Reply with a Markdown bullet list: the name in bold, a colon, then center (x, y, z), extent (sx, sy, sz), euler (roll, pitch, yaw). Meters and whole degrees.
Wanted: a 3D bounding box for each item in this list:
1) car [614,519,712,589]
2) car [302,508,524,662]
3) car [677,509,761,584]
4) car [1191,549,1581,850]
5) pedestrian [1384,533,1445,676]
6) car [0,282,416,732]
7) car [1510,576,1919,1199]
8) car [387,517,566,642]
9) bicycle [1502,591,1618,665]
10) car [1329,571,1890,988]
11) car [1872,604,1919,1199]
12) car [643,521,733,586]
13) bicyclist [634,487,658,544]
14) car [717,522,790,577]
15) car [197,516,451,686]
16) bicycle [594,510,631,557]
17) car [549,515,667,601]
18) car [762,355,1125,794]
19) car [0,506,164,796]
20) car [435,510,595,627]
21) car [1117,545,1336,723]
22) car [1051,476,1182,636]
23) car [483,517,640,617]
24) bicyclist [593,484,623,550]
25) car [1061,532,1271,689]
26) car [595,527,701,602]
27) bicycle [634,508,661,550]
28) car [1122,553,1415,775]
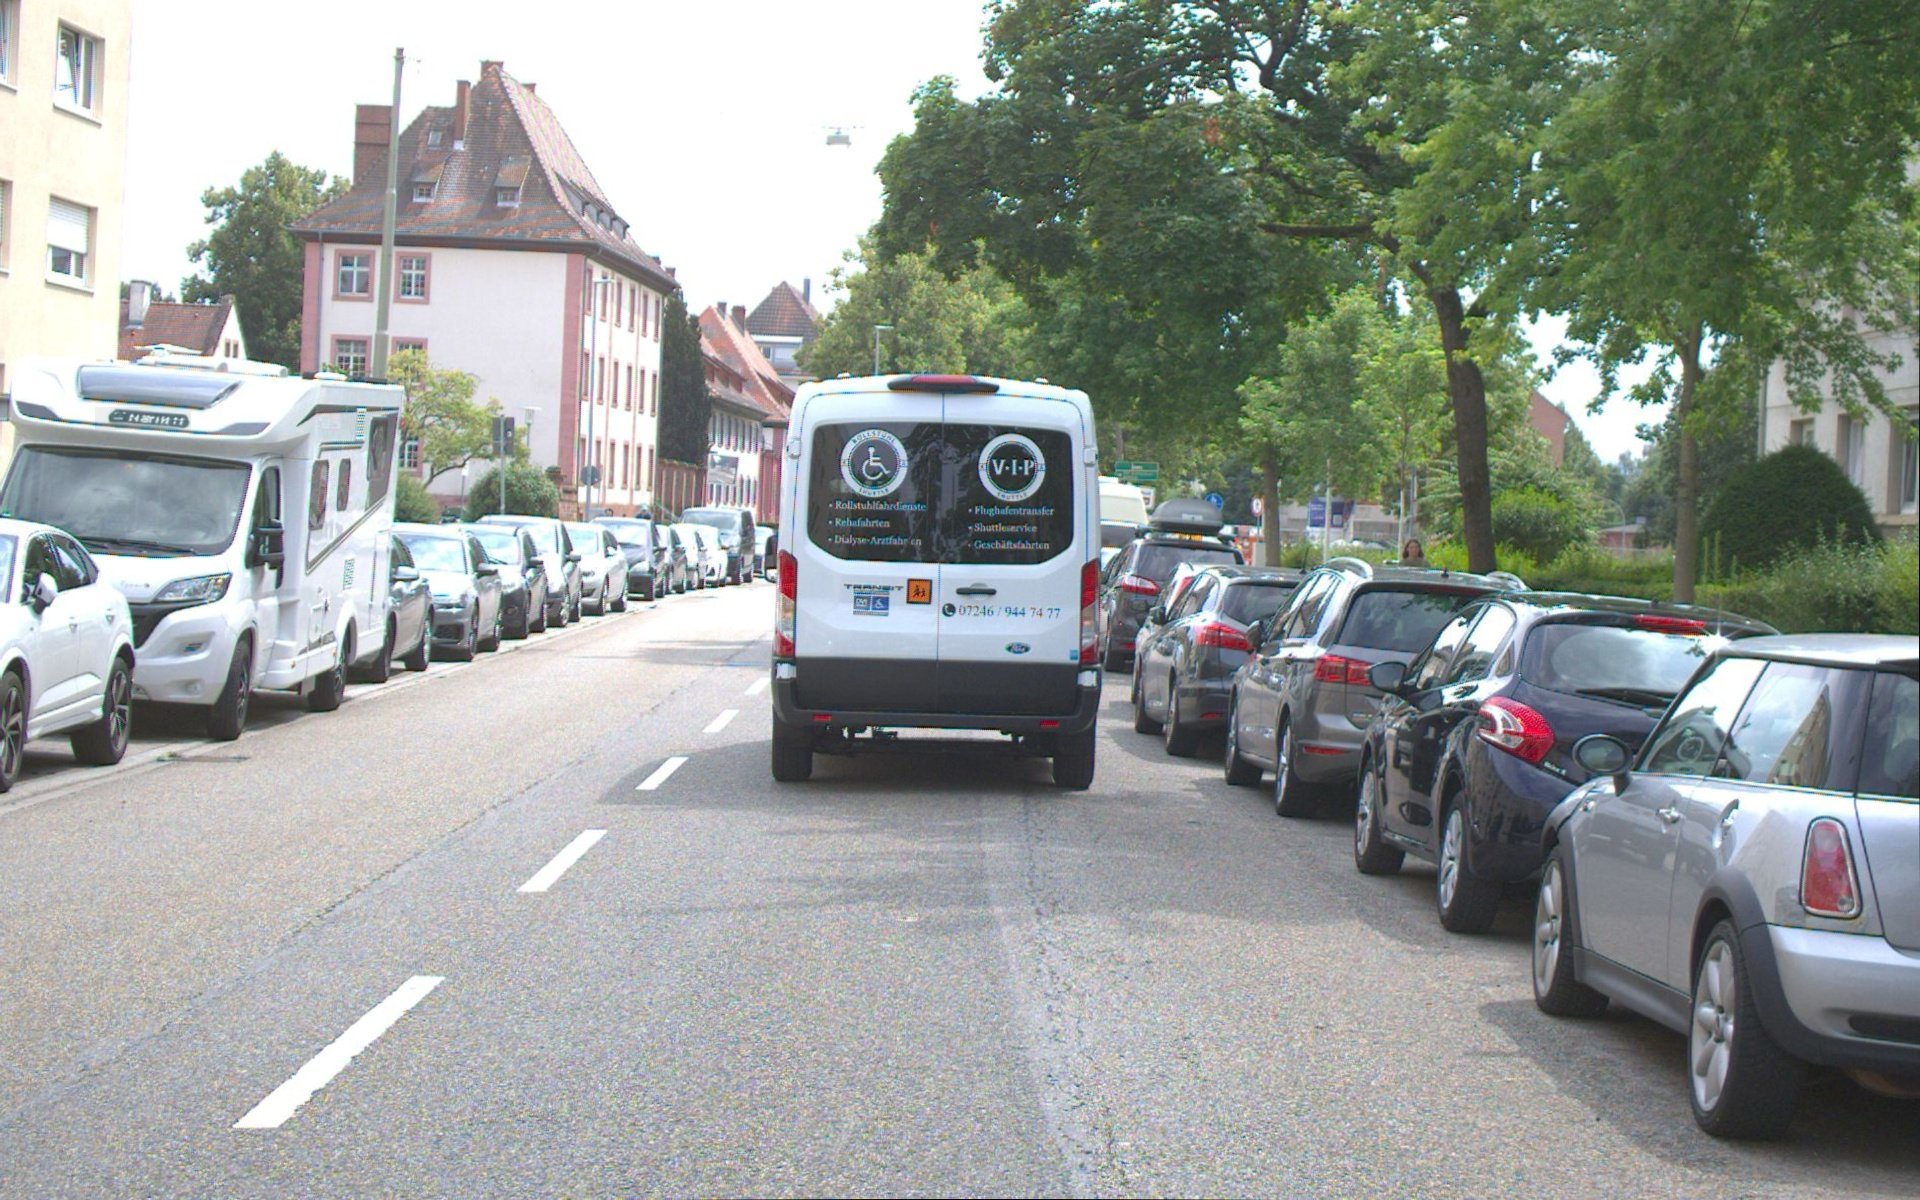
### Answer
- **car**: center (-6.754, -1.066, 78.544), extent (1.786, 1.457, 3.861), euler (4, 1, 1)
- **car**: center (-6.310, -0.228, 40.213), extent (1.885, 1.574, 5.220), euler (4, 1, -2)
- **car**: center (-6.331, -1.416, 90.629), extent (1.786, 1.820, 3.974), euler (4, 1, 1)
- **car**: center (2.603, 0.543, 21.970), extent (1.659, 1.577, 4.286), euler (5, 1, -3)
- **pedestrian**: center (5.854, 0.058, 44.278), extent (0.522, 1.822, 0.524), euler (1, 1, -27)
- **car**: center (-6.232, -0.744, 27.565), extent (2.510, 3.013, 7.397), euler (4, 1, -1)
- **car**: center (2.890, 0.746, 10.603), extent (1.659, 1.464, 3.726), euler (2, 2, -1)
- **car**: center (-6.474, -0.317, 46.449), extent (1.741, 1.491, 4.786), euler (4, 1, -1)
- **bicycle**: center (7.913, 0.371, 45.342), extent (1.383, 0.913, 0.514), euler (2, 2, -13)
- **car**: center (2.765, 0.692, 15.476), extent (1.659, 1.464, 3.890), euler (2, 2, -1)
- **car**: center (2.764, 0.838, 4.970), extent (1.780, 1.464, 4.614), euler (4, 1, 2)
- **car**: center (-6.734, -1.169, 85.372), extent (1.786, 1.477, 3.861), euler (4, 1, 1)
- **bicyclist**: center (-8.807, -2.374, 96.569), extent (0.536, 1.580, 0.691), euler (2, 1, 3)
- **car**: center (-6.038, -1.492, 100.920), extent (1.786, 1.477, 3.861), euler (4, 1, 1)
- **car**: center (-6.289, -0.043, 34.463), extent (1.688, 1.491, 4.594), euler (4, 1, -1)
- **bicycle**: center (-8.845, -1.695, 87.508), extent (0.541, 1.171, 2.091), euler (2, 1, 4)
- **car**: center (-6.859, -0.836, 67.309), extent (1.786, 1.538, 3.861), euler (4, 1, 1)
- **car**: center (-0.183, -0.180, 22.504), extent (2.070, 2.531, 4.635), euler (1, 1, -2)
- **car**: center (-6.169, 0.220, 20.683), extent (1.688, 1.574, 4.594), euler (4, 1, -1)
- **car**: center (-6.627, -0.498, 51.535), extent (1.885, 1.574, 4.154), euler (4, 1, -2)
- **car**: center (2.443, 0.267, 32.306), extent (1.659, 1.451, 4.036), euler (4, 1, 0)
- **car**: center (2.729, -0.802, 61.018), extent (1.897, 2.578, 4.829), euler (5, 1, 0)
- **car**: center (-6.620, -0.573, 57.518), extent (1.886, 1.483, 4.633), euler (4, 1, 1)
- **bicyclist**: center (-8.884, -2.102, 86.773), extent (0.537, 1.647, 1.047), euler (2, 1, 4)
- **car**: center (2.469, 0.066, 42.564), extent (1.927, 1.655, 5.326), euler (5, 1, -3)
- **car**: center (-6.658, -0.770, 73.654), extent (1.786, 1.457, 3.861), euler (4, 1, 1)
- **bicycle**: center (-8.804, -2.003, 96.903), extent (0.541, 1.171, 1.349), euler (2, 1, 3)
- **car**: center (2.336, 0.437, 27.054), extent (1.617, 1.464, 4.392), euler (4, 1, -3)
